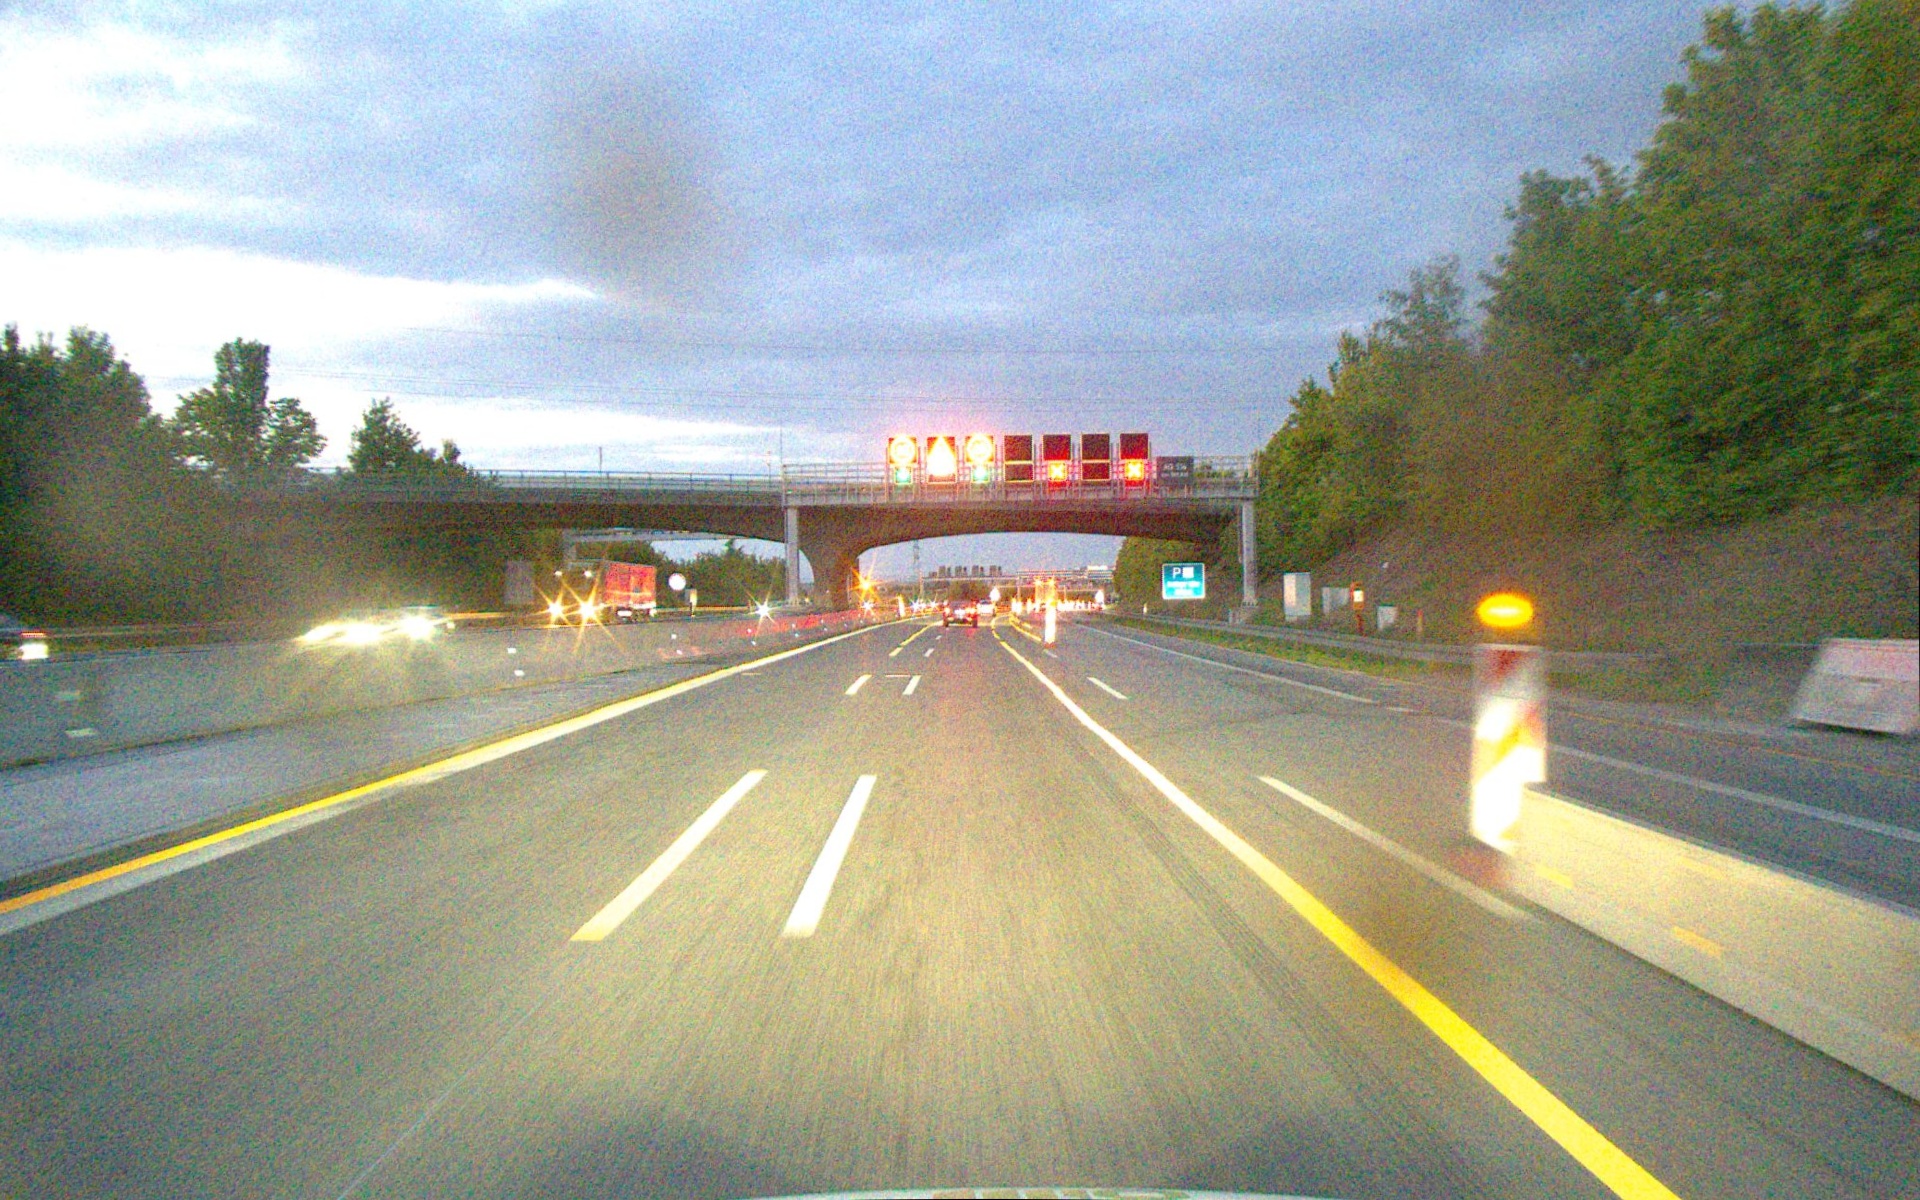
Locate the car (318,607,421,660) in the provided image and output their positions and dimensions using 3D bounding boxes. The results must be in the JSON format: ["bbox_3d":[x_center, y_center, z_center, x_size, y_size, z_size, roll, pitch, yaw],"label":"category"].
[{"bbox_3d":[-20.094,1.111,56.497,1.701,1.666,4.891,1,0,1],"label":"car"}]

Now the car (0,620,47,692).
[{"bbox_3d":[-23.534,1.316,38.423,1.701,1.666,5.171,1,0,1],"label":"car"}]

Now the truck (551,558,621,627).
[{"bbox_3d":[-24.118,-0.439,106.841,2.719,4.244,6.387,1,0,2],"label":"truck"}]

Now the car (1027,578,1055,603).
[{"bbox_3d":[11.560,-1.326,236.109,3.532,3.455,8.013,1,0,-1],"label":"car"}]

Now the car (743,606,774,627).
[{"bbox_3d":[-17.405,1.439,142.867,1.952,1.705,4.516,1,0,2],"label":"car"}]

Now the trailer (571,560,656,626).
[{"bbox_3d":[-23.822,-0.410,114.598,2.721,4.279,12.405,1,0,2],"label":"trailer"}]

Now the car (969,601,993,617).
[{"bbox_3d":[1.895,0.819,149.432,1.930,1.462,4.001,1,0,3],"label":"car"}]

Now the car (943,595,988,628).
[{"bbox_3d":[0.257,0.620,88.780,2.220,1.650,3.998,1,0,-2],"label":"car"}]

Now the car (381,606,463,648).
[{"bbox_3d":[-22.394,1.113,69.031,1.558,1.632,5.035,1,0,2],"label":"car"}]
